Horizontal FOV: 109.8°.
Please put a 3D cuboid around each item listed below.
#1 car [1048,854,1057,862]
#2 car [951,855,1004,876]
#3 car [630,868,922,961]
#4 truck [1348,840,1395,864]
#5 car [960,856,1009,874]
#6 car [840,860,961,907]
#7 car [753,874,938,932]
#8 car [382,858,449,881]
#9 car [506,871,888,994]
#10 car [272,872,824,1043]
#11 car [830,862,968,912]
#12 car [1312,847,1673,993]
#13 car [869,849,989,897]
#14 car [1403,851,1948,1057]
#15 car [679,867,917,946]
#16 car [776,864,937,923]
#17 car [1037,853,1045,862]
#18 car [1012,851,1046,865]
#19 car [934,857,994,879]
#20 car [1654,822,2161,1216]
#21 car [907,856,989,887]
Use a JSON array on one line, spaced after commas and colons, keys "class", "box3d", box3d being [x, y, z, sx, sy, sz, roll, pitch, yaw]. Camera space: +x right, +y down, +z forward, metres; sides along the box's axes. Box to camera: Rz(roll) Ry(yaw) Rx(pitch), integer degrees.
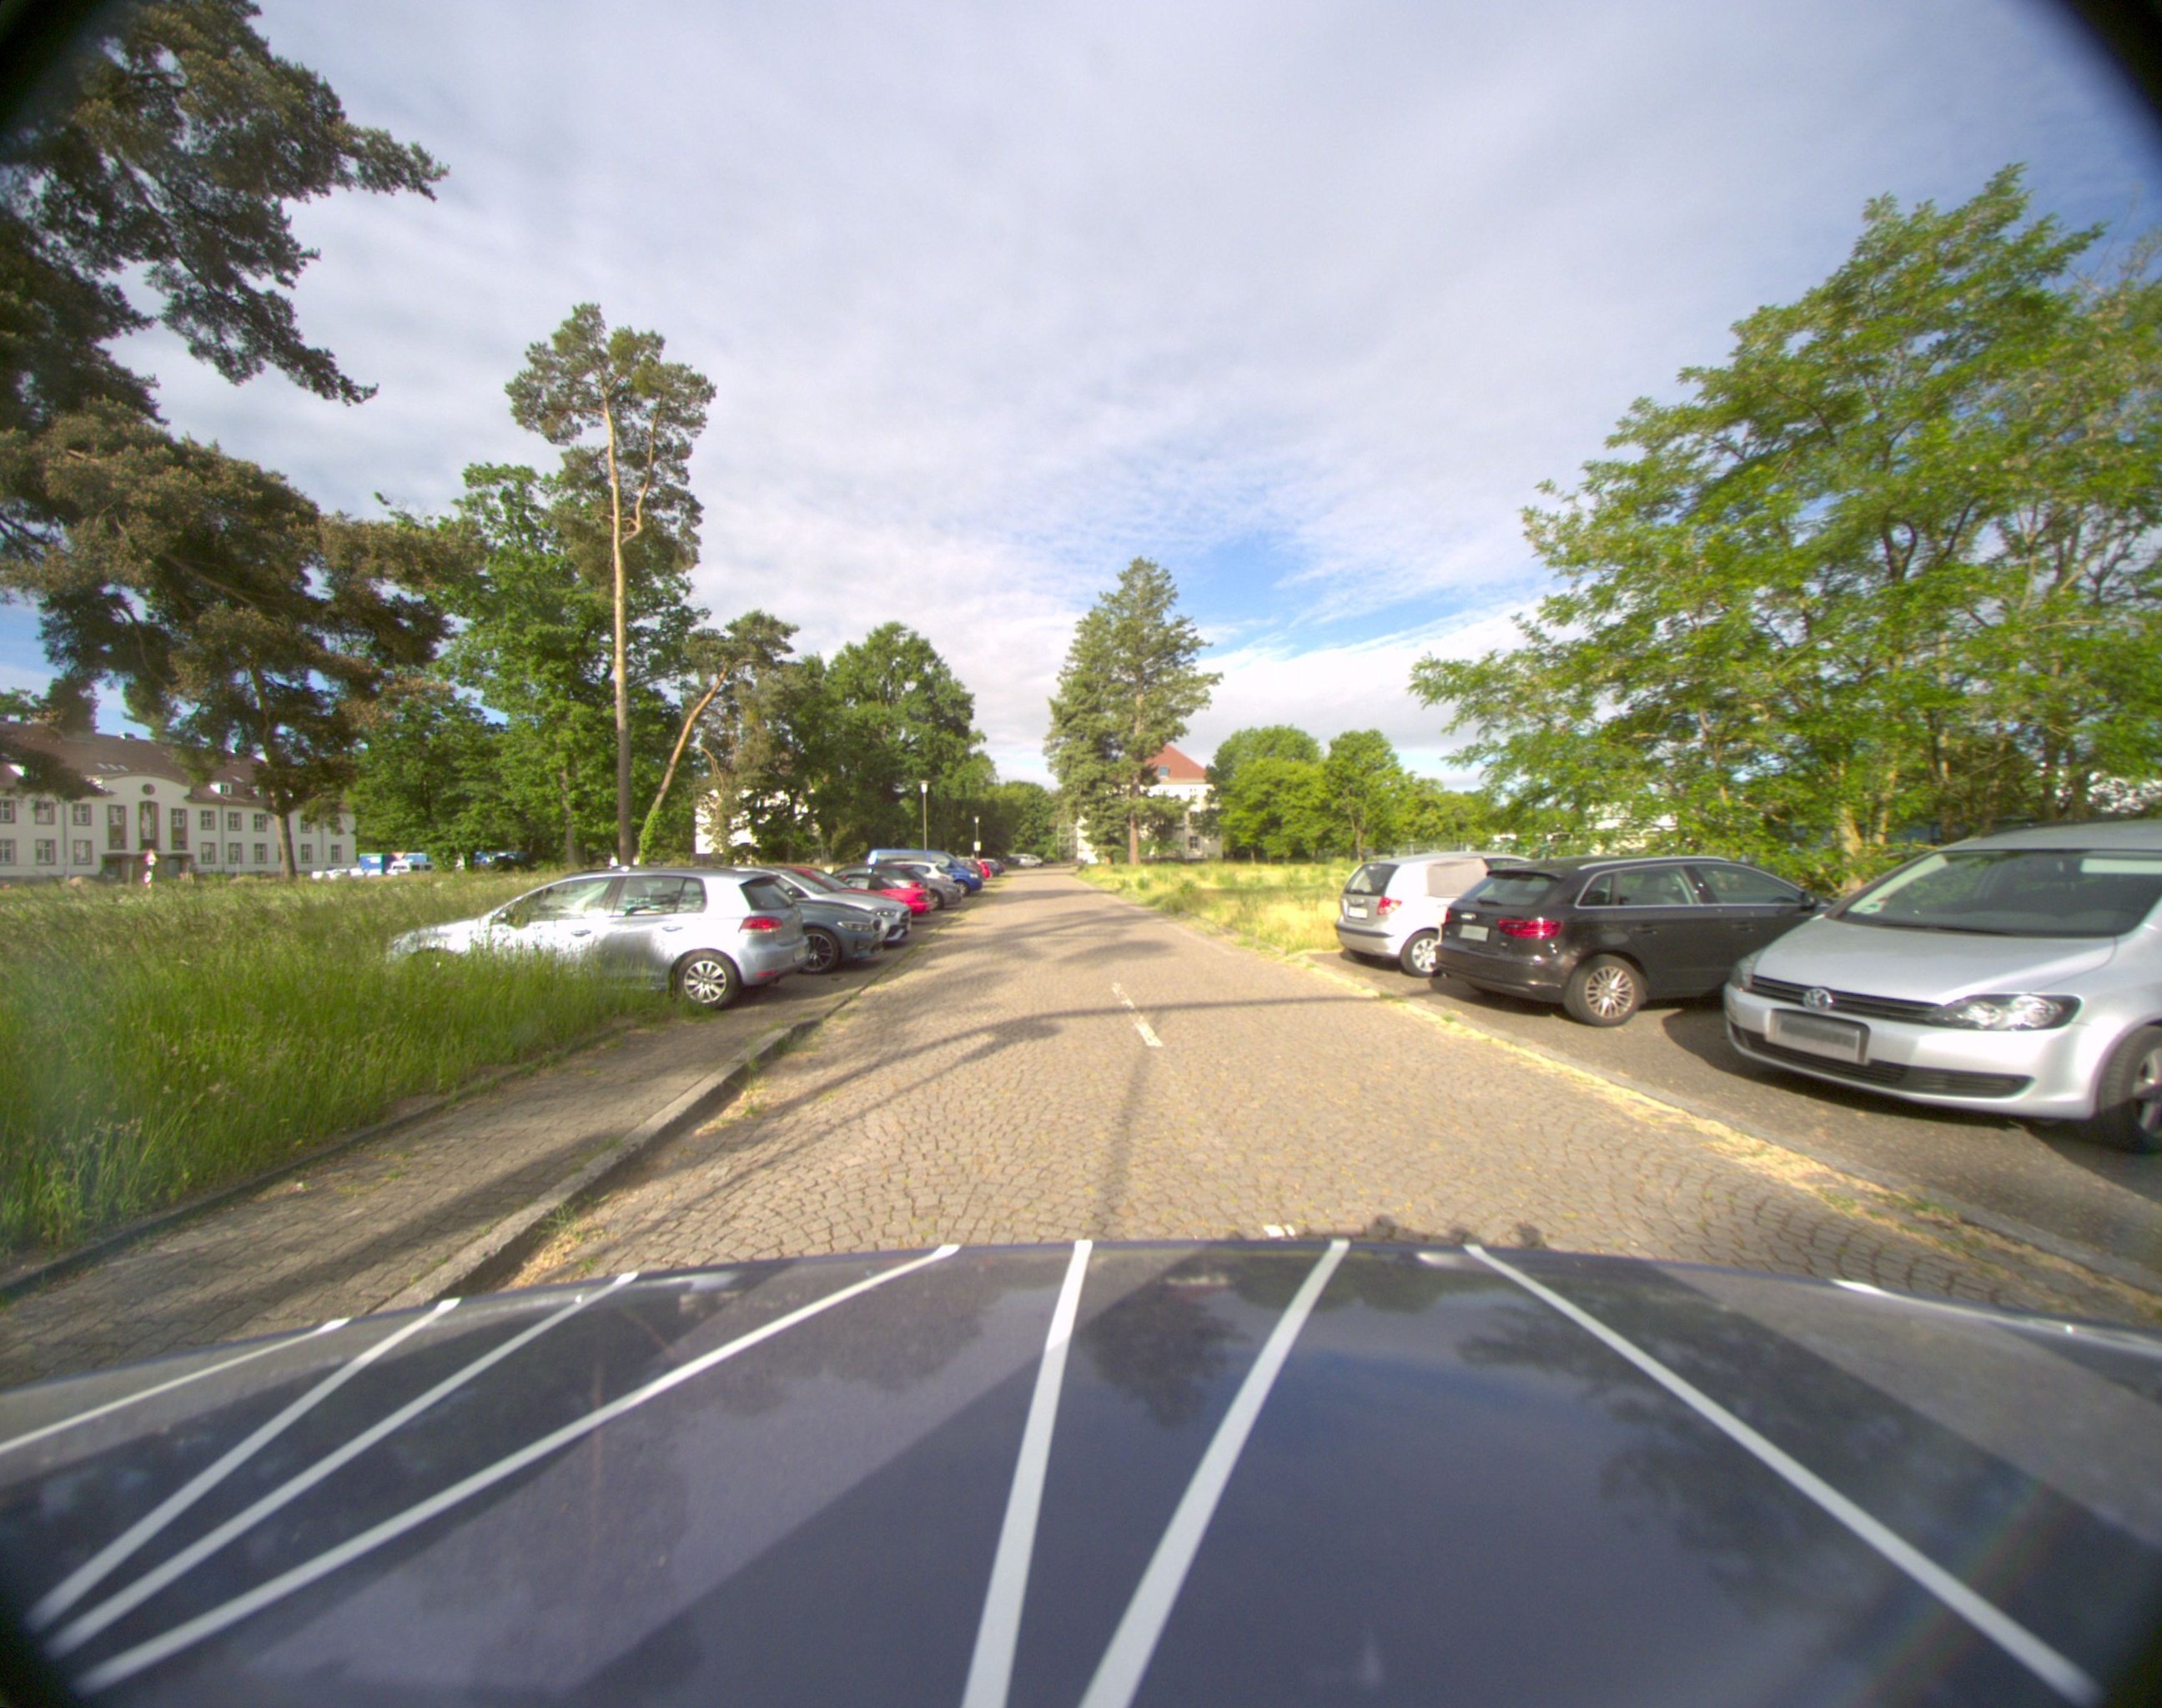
[{"class": "car", "box3d": [-6.791, 0.853, 181.774, 1.999, 1.762, 4.107, -1, 1, -4]}, {"class": "car", "box3d": [-8.344, 0.924, 61.466, 4.137, 1.560, 1.745, 0, 1, -4]}, {"class": "car", "box3d": [-5.305, 1.030, 13.744, 4.520, 1.465, 1.848, 0, 1, -4]}, {"class": "truck", "box3d": [32.394, -0.216, 85.063, 2.418, 2.572, 6.957, -1, 0, -1]}, {"class": "car", "box3d": [-8.359, 0.958, 66.171, 4.036, 1.442, 1.782, 0, 1, -2]}, {"class": "car", "box3d": [-6.286, 1.002, 26.770, 3.885, 1.521, 1.807, 0, 1, -4]}, {"class": "car", "box3d": [-5.567, 1.150, 18.386, 3.962, 1.253, 1.726, 0, 1, -4]}, {"class": "car", "box3d": [-73.504, 1.685, 84.058, 2.167, 2.286, 5.960, -1, 0, -1]}, {"class": "car", "box3d": [-5.226, 1.037, 10.965, 4.521, 1.465, 1.893, 0, 1, -8]}, {"class": "car", "box3d": [-5.399, 1.002, 8.322, 4.558, 1.497, 1.932, 0, 1, -6]}, {"class": "car", "box3d": [-5.646, 1.008, 23.950, 3.962, 1.459, 1.830, 0, 1, -4]}, {"class": "car", "box3d": [5.209, 0.757, 9.927, 3.694, 1.465, 1.848, -4, 1, -5]}, {"class": "car", "box3d": [-6.346, 0.775, 32.125, 4.747, 1.917, 1.991, 1, 1, -5]}, {"class": "car", "box3d": [5.431, 0.816, 7.283, 3.840, 1.421, 1.858, -4, 1, -5]}, {"class": "car", "box3d": [-5.799, 1.051, 15.986, 4.353, 1.465, 1.739, 0, 1, -4]}, {"class": "car", "box3d": [-6.088, 1.043, 20.992, 3.962, 1.487, 1.771, 0, 1, -4]}, {"class": "car", "box3d": [-9.500, 0.846, 181.368, 1.875, 1.888, 3.998, -1, 1, -4]}, {"class": "car", "box3d": [-7.878, 0.575, 115.250, 5.080, 2.029, 1.999, -1, 0, -4]}, {"class": "car", "box3d": [-7.871, 0.932, 51.191, 3.888, 1.464, 1.686, 0, 1, -5]}, {"class": "car", "box3d": [6.161, 0.697, 4.631, 4.134, 1.591, 1.857, -4, 1, -8]}, {"class": "car", "box3d": [-7.116, 0.943, 40.961, 4.203, 1.580, 1.877, 0, 1, -5]}]
